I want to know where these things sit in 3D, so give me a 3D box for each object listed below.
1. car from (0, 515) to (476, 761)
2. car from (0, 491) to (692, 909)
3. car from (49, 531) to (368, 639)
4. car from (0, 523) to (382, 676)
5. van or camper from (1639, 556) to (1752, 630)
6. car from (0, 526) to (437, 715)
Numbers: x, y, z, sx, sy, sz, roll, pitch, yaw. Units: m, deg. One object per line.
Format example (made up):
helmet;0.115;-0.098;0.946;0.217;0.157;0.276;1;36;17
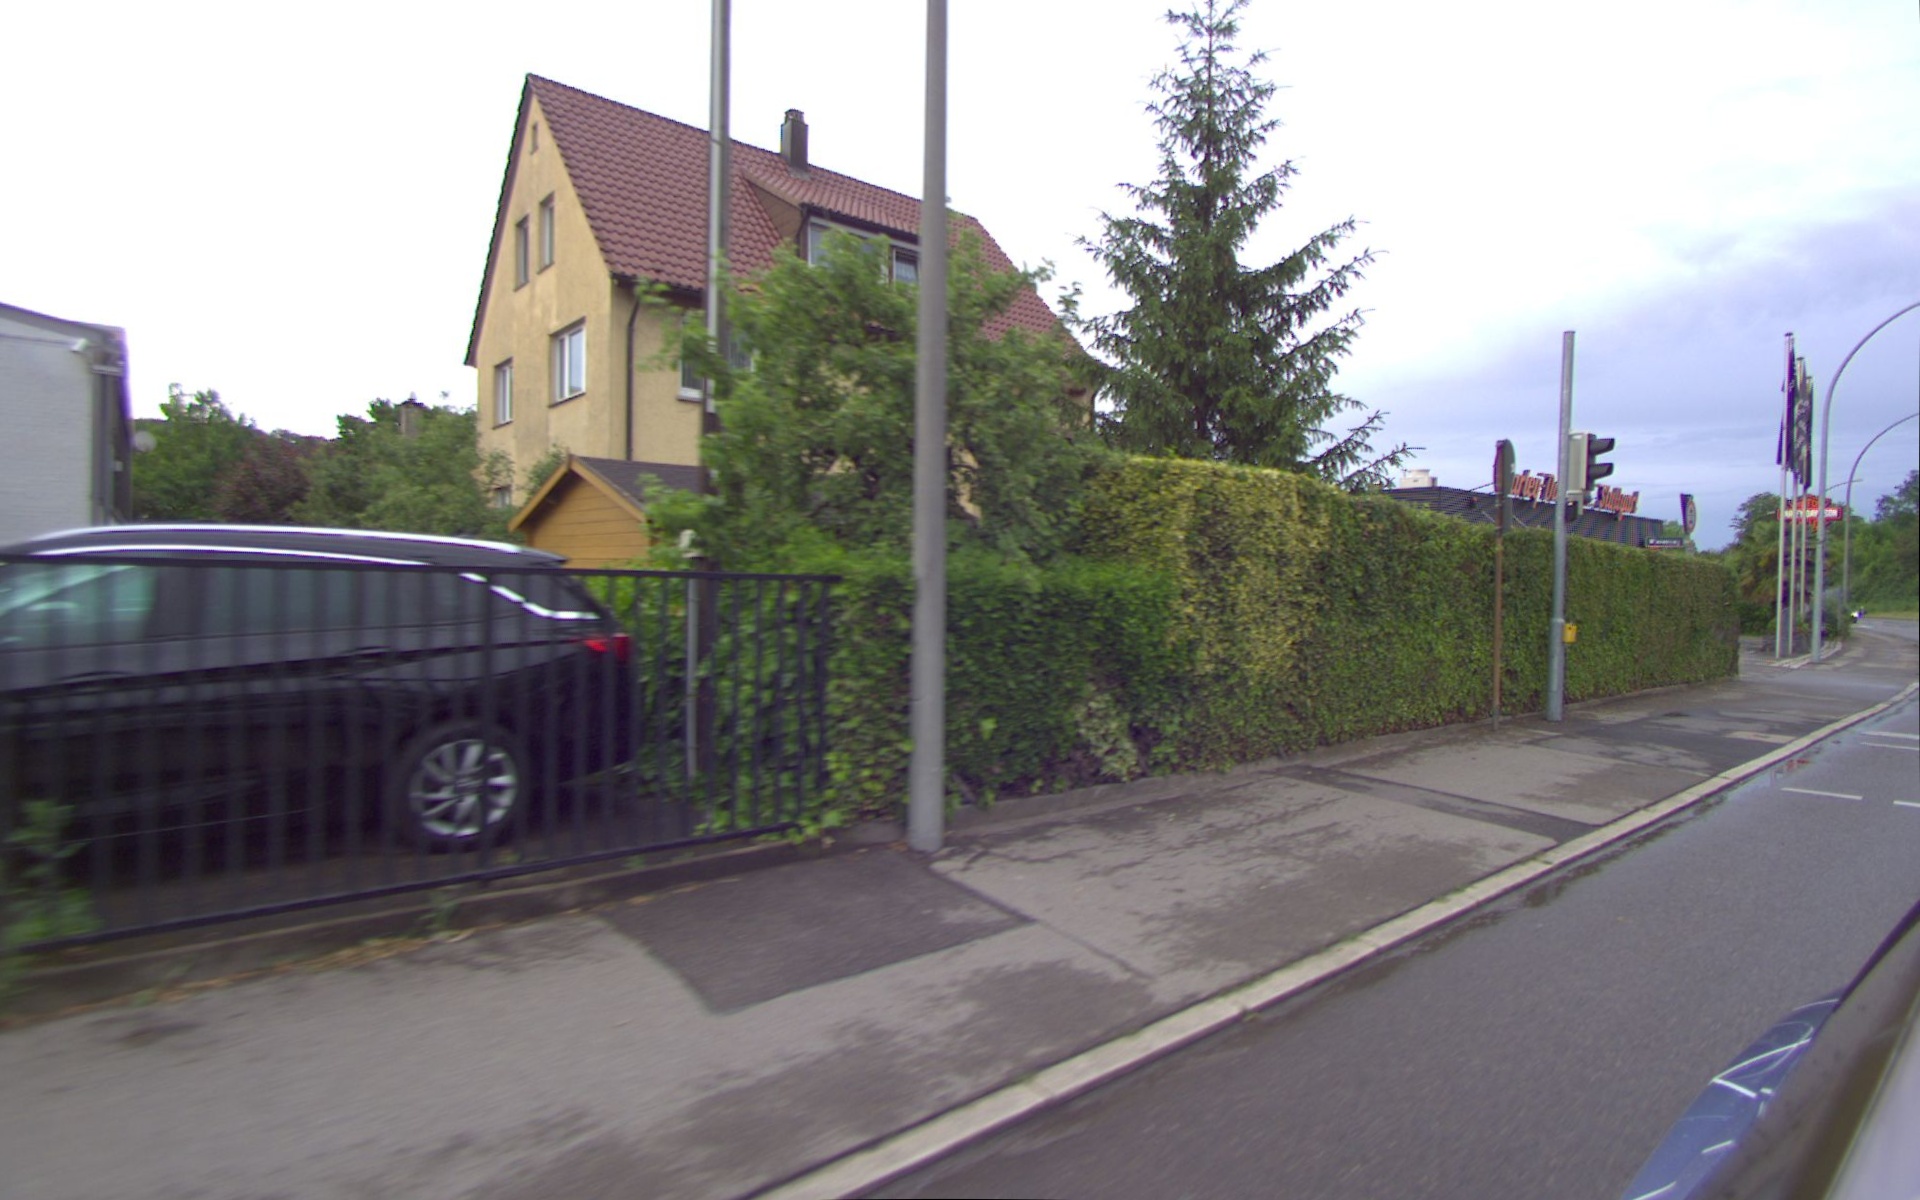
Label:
car;-5.456;0.203;6.664;3.832;1.371;1.742;-2;1;-36
car;-3.511;0.360;4.537;4.166;1.475;1.666;0;-1;-38
car;-10.784;-0.239;14.687;3.549;1.371;1.586;-2;1;-41
car;-8.255;-0.031;10.568;1.583;1.371;3.554;-1;1;44
van or camper;28.345;-0.277;38.891;6.473;2.625;2.045;0;1;-41
car;-6.757;0.124;8.593;3.837;1.371;1.585;-2;1;-42
